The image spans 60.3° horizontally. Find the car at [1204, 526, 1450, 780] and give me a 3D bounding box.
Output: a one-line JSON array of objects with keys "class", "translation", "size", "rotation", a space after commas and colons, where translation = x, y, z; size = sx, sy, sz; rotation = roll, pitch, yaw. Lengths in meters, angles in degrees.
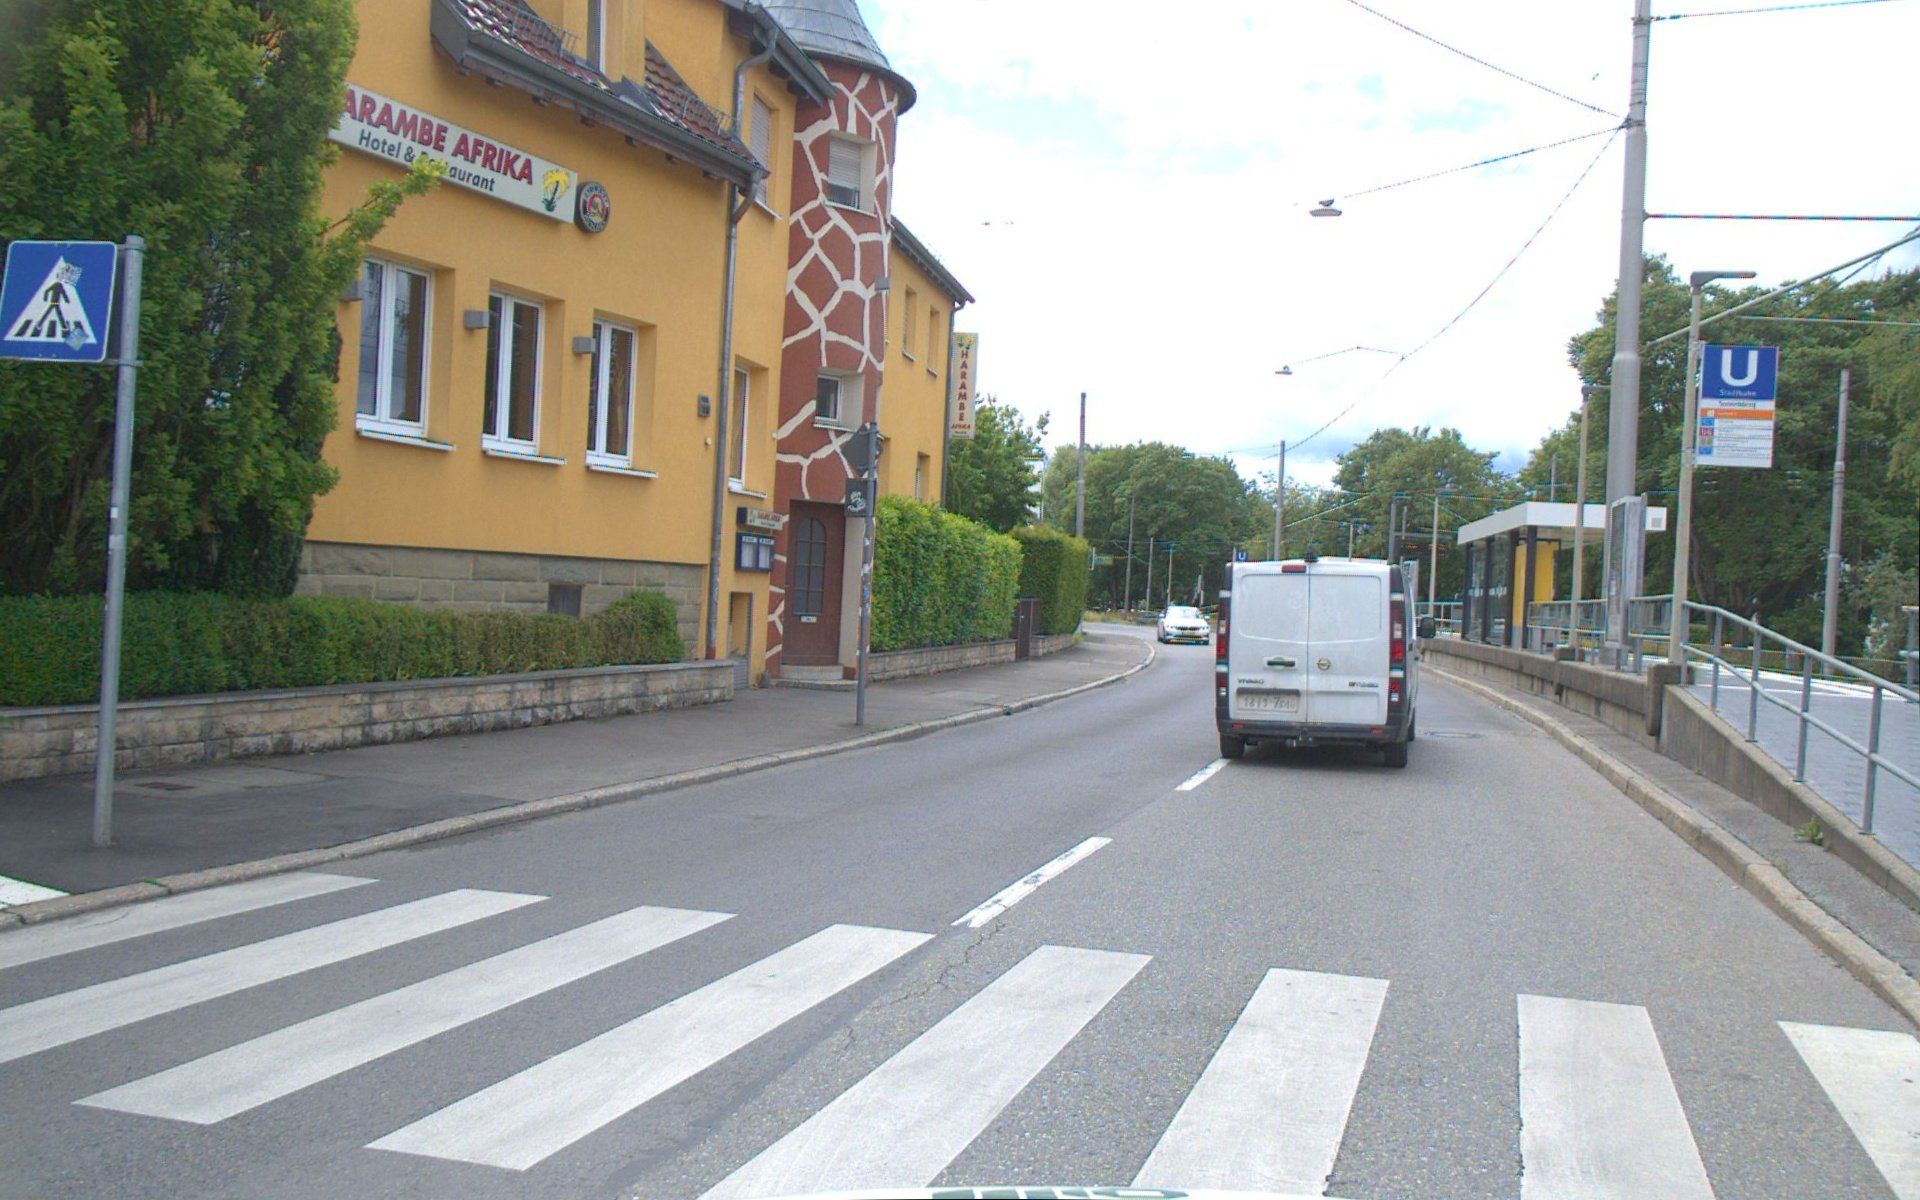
[{"class": "car", "translation": [4.042, 0.505, 17.810], "size": [2.072, 2.171, 5.444], "rotation": [4, 0, 15]}]

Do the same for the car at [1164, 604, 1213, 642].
[{"class": "car", "translation": [9.130, 0.896, 66.298], "size": [1.780, 1.444, 4.466], "rotation": [1, 0, 6]}]

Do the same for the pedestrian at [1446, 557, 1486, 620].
[{"class": "pedestrian", "translation": [14.239, -0.317, 46.579], "size": [0.867, 1.700, 0.910], "rotation": [3, 0, 9]}]
